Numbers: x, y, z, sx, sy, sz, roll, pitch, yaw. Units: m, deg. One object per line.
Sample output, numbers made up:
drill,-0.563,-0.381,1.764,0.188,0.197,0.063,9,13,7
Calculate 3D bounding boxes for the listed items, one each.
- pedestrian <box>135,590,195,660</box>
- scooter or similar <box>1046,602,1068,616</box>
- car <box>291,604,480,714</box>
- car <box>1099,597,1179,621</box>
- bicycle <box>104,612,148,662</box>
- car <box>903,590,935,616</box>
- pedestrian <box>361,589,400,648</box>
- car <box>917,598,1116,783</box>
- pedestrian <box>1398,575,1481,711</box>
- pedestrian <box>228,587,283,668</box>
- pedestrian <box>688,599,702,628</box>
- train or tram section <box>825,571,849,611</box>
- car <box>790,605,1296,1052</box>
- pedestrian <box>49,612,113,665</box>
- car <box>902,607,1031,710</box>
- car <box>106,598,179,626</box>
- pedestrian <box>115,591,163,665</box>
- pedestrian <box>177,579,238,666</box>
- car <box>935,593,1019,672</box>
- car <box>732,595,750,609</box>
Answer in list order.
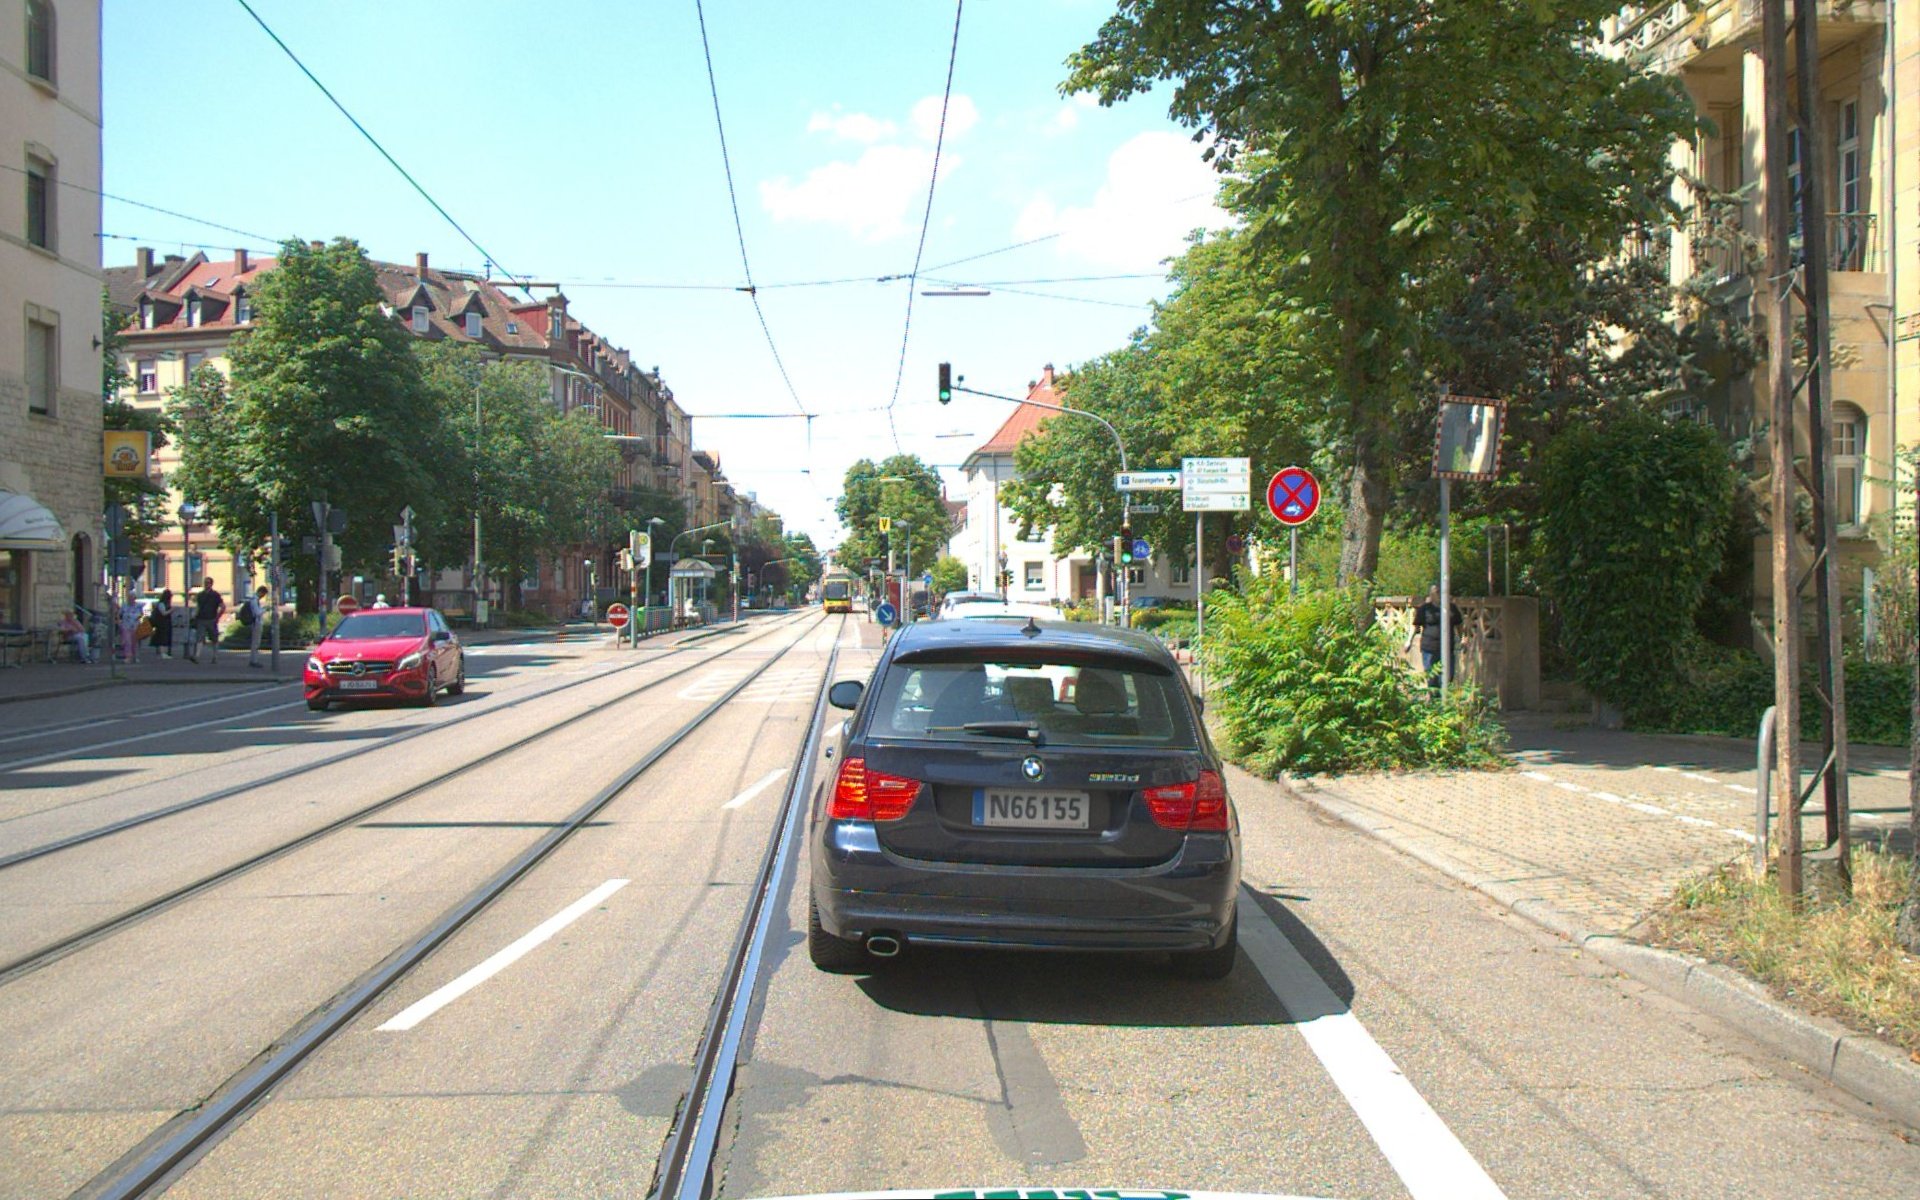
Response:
pedestrian,-19.120,0.594,39.769,1.002,1.664,0.863,0,0,2
scooter or similar,5.893,0.546,100.705,1.287,0.852,0.525,0,0,-9
car,-8.692,0.831,25.398,1.788,1.438,4.422,-2,0,-7
car,9.586,0.495,88.626,3.914,1.265,1.620,0,0,32
bicycle,-19.559,0.874,38.785,0.539,1.148,1.658,0,-2,-40
car,-3.038,0.236,121.793,1.956,1.881,3.994,0,0,-7
pedestrian,-17.648,0.556,50.381,0.898,1.753,0.840,0,0,-4
car,0.445,0.748,15.602,1.651,1.510,3.684,0,0,-1
pedestrian,6.067,0.532,20.966,0.839,1.674,0.837,-1,0,4
pedestrian,-15.499,0.601,36.394,0.842,1.763,0.775,1,0,-2
pedestrian,-11.409,0.571,71.182,0.602,1.264,0.626,0,0,-10
train or tram section,-11.233,-0.853,151.097,2.147,3.543,8.838,0,0,-4
car,0.338,0.784,7.929,1.687,1.433,4.565,2,0,1
pedestrian,-18.744,0.822,35.287,0.897,1.096,0.882,0,0,-3
car,0.027,0.782,23.910,1.657,1.346,3.819,0,0,-3
car,-44.209,0.654,89.424,3.388,1.497,1.685,0,0,21
pedestrian,-18.216,0.609,36.682,0.800,1.622,0.907,0,0,-37
pedestrian,-16.882,0.490,37.146,0.883,1.924,1.163,0,0,-5
car,0.337,0.638,34.675,1.656,1.540,3.821,0,0,0
car,-25.804,0.279,194.993,1.756,1.614,3.988,1,0,-12
